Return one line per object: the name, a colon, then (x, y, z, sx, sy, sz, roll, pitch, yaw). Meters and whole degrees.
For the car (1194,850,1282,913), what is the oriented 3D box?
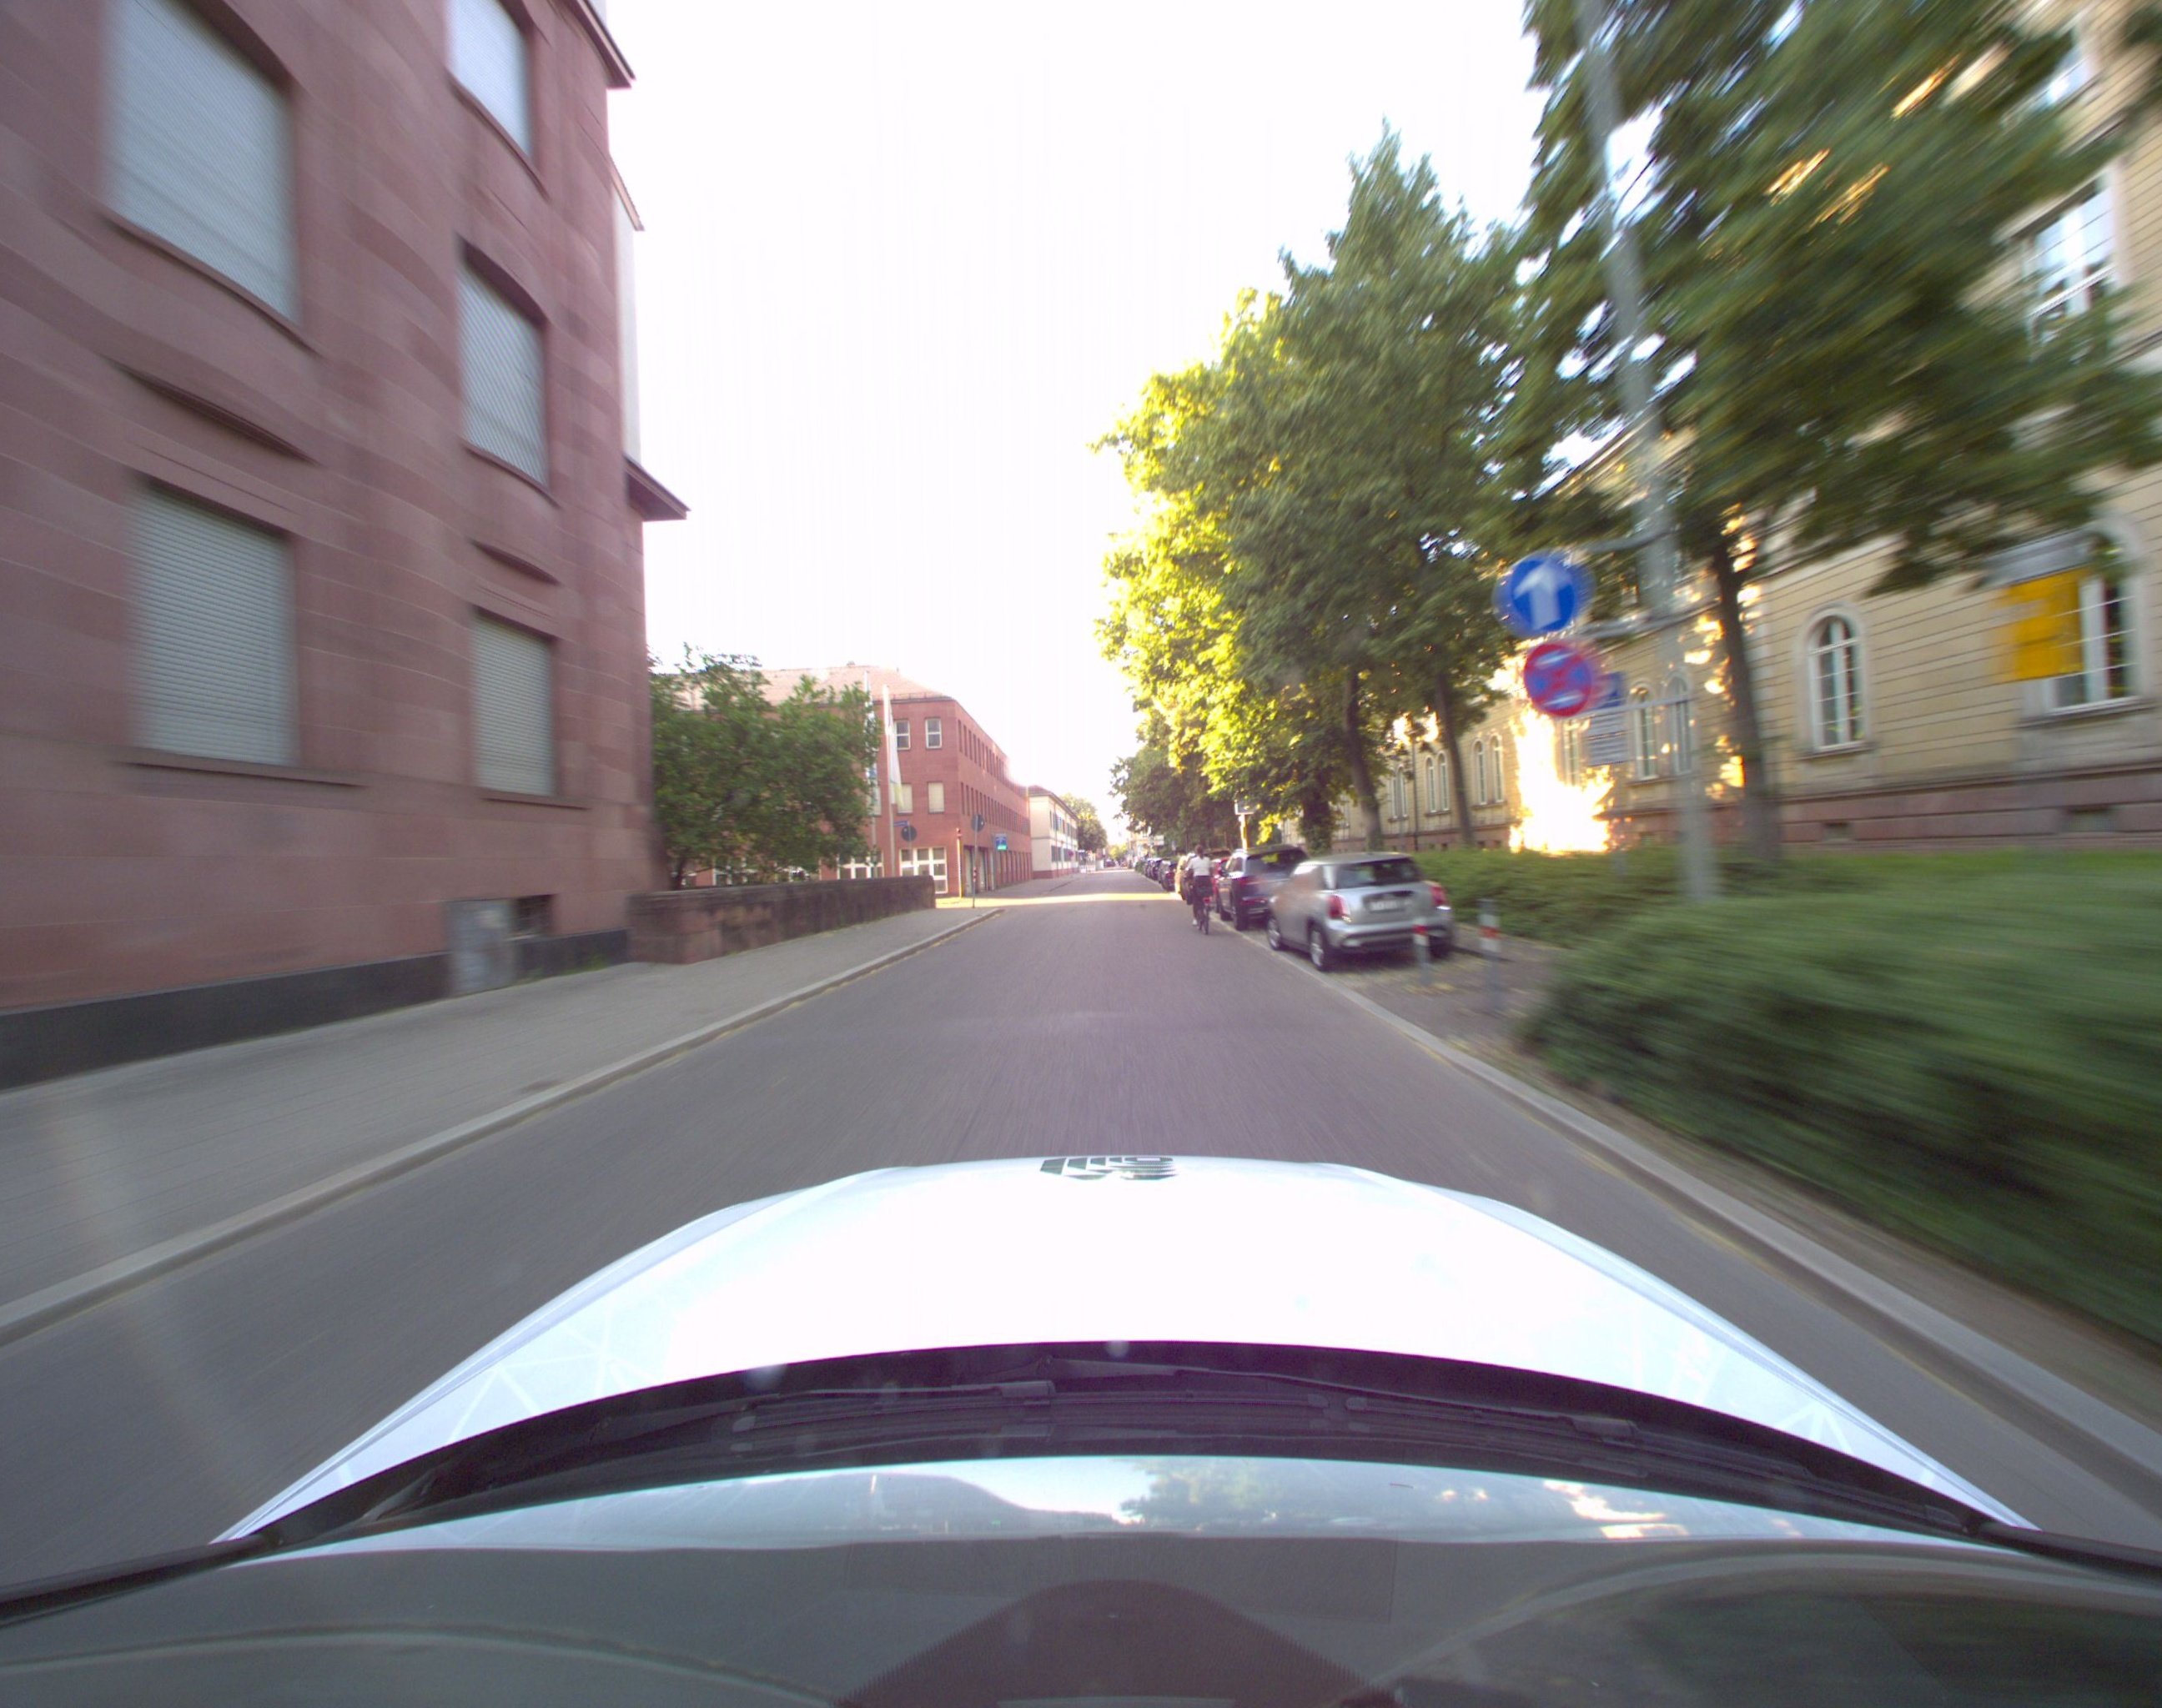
car: (4.362, 0.730, 23.239, 1.710, 1.538, 4.049, -3, -1, 1)

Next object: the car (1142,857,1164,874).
car: (7.783, 1.243, 88.160, 1.986, 1.629, 4.001, -3, -1, 2)

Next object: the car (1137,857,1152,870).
car: (11.592, 1.746, 149.481, 2.484, 2.196, 4.912, -3, -1, 2)

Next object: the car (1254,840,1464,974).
car: (3.716, 0.671, 11.582, 1.679, 1.447, 3.672, -5, -1, 1)

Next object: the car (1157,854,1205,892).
car: (4.987, 0.927, 41.167, 1.986, 1.706, 4.001, -3, -1, 2)

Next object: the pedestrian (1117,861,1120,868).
pedestrian: (8.240, 2.263, 179.851, 0.532, 1.472, 0.449, -3, -1, 1)

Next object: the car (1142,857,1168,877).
car: (6.651, 1.150, 73.589, 1.986, 1.629, 4.001, -3, -1, 2)

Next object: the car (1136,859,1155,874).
car: (7.871, 1.505, 99.249, 1.986, 1.749, 4.001, -3, -1, 2)

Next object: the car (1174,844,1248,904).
car: (4.438, 0.665, 28.388, 1.986, 1.816, 4.001, -3, -1, 2)

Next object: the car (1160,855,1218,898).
car: (4.519, 0.908, 34.585, 1.986, 1.596, 4.001, -3, -1, 2)

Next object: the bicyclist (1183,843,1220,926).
bicyclist: (2.470, 0.615, 16.770, 0.637, 1.667, 0.843, -1, -1, 1)

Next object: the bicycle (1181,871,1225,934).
bicycle: (2.480, 0.958, 16.741, 0.636, 1.193, 1.876, -1, -1, 1)

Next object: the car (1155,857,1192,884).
car: (5.882, 1.028, 52.353, 1.986, 1.530, 4.001, -3, -1, 2)

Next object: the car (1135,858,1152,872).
car: (9.307, 1.646, 121.430, 2.273, 1.854, 4.912, -3, -1, 2)

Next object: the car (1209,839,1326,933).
car: (3.955, 0.632, 17.957, 1.708, 1.712, 4.476, -3, -1, 3)

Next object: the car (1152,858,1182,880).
car: (6.611, 1.136, 62.885, 1.986, 1.585, 4.001, -3, -1, 2)

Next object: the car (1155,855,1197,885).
car: (5.392, 0.917, 46.667, 1.986, 1.530, 4.001, -3, -1, 2)
